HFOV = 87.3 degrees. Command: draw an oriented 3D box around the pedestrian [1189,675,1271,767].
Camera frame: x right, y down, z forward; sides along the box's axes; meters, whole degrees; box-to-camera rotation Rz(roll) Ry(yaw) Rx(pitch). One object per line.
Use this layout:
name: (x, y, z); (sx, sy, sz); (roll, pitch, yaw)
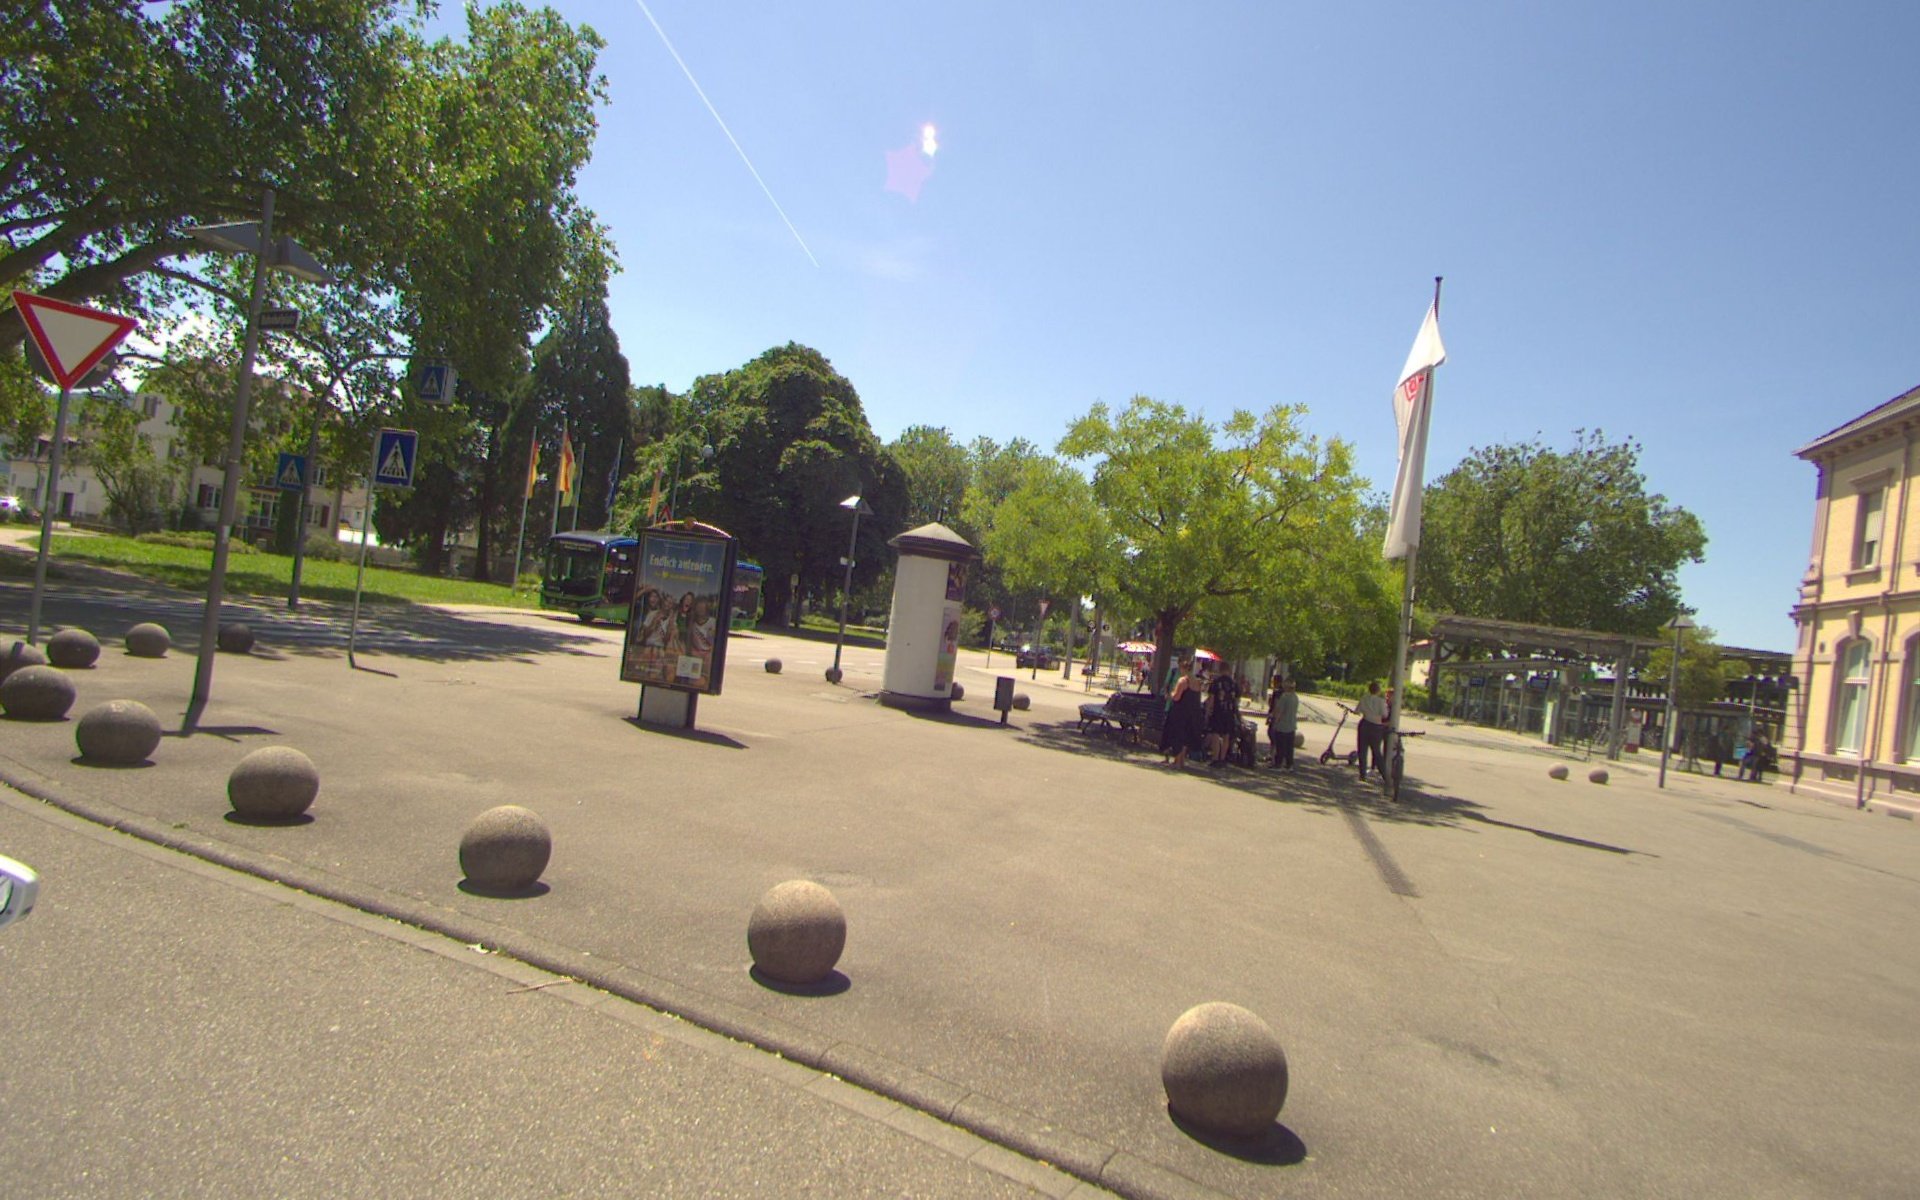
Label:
pedestrian: (4.727, 2.110, 17.665); (0.898, 1.402, 0.942); (8, -1, -12)

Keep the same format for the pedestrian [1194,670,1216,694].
pedestrian: (13.699, 4.577, 56.239); (0.882, 1.174, 0.686); (8, -1, -18)

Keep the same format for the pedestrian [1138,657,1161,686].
pedestrian: (10.465, 3.954, 55.625); (0.883, 1.434, 0.685); (8, -1, -20)

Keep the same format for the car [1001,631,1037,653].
car: (7.719, 5.494, 132.113); (2.188, 2.198, 4.842); (8, -1, -31)

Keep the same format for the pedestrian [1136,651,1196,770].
pedestrian: (3.326, 1.757, 16.188); (0.680, 1.784, 0.586); (7, -1, 18)

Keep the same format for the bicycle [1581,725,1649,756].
bicycle: (34.173, 7.316, 52.486); (2.743, 1.015, 0.812); (10, -1, 15)

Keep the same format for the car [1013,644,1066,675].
car: (4.394, 3.307, 55.202); (1.896, 1.477, 4.730); (5, -3, 16)

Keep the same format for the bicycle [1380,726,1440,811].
bicycle: (6.932, 2.567, 15.555); (0.413, 1.072, 1.951); (7, -2, 15)

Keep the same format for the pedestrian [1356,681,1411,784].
pedestrian: (7.533, 2.339, 17.904); (0.544, 1.705, 0.588); (7, -1, 5)

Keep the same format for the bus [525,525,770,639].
bus: (-12.093, -0.406, 41.092); (2.765, 3.321, 12.436); (7, -2, 17)

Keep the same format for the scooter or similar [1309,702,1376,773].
scooter or similar: (7.185, 2.581, 18.927); (1.008, 1.152, 0.295); (7, -1, 10)

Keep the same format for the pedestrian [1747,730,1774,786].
pedestrian: (27.886, 5.498, 35.055); (0.543, 1.830, 0.497); (7, 0, 38)

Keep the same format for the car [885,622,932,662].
car: (-2.526, 2.074, 50.235); (1.953, 1.646, 4.780); (7, -2, -1)

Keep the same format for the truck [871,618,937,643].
truck: (-8.355, 4.459, 147.661); (11.213, 2.376, 2.275); (6, -2, 43)

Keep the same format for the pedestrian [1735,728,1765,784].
pedestrian: (27.260, 5.373, 34.718); (0.622, 1.830, 0.594); (7, 0, 38)

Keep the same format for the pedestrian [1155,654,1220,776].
pedestrian: (3.511, 1.758, 15.536); (0.617, 1.760, 0.547); (8, -1, -8)

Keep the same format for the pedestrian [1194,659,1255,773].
pedestrian: (4.340, 1.887, 16.532); (0.575, 1.760, 0.599); (8, -1, -8)

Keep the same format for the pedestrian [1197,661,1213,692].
pedestrian: (14.491, 4.520, 59.526); (0.675, 1.758, 0.708); (7, -1, 17)

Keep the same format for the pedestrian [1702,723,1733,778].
pedestrian: (26.784, 5.315, 35.559); (0.680, 1.830, 0.629); (7, -1, 39)

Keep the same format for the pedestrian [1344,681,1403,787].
pedestrian: (7.112, 2.290, 17.331); (0.607, 1.705, 0.591); (7, -1, 5)

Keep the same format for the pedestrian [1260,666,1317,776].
pedestrian: (5.613, 2.055, 17.199); (0.504, 1.760, 0.570); (8, -1, -12)
